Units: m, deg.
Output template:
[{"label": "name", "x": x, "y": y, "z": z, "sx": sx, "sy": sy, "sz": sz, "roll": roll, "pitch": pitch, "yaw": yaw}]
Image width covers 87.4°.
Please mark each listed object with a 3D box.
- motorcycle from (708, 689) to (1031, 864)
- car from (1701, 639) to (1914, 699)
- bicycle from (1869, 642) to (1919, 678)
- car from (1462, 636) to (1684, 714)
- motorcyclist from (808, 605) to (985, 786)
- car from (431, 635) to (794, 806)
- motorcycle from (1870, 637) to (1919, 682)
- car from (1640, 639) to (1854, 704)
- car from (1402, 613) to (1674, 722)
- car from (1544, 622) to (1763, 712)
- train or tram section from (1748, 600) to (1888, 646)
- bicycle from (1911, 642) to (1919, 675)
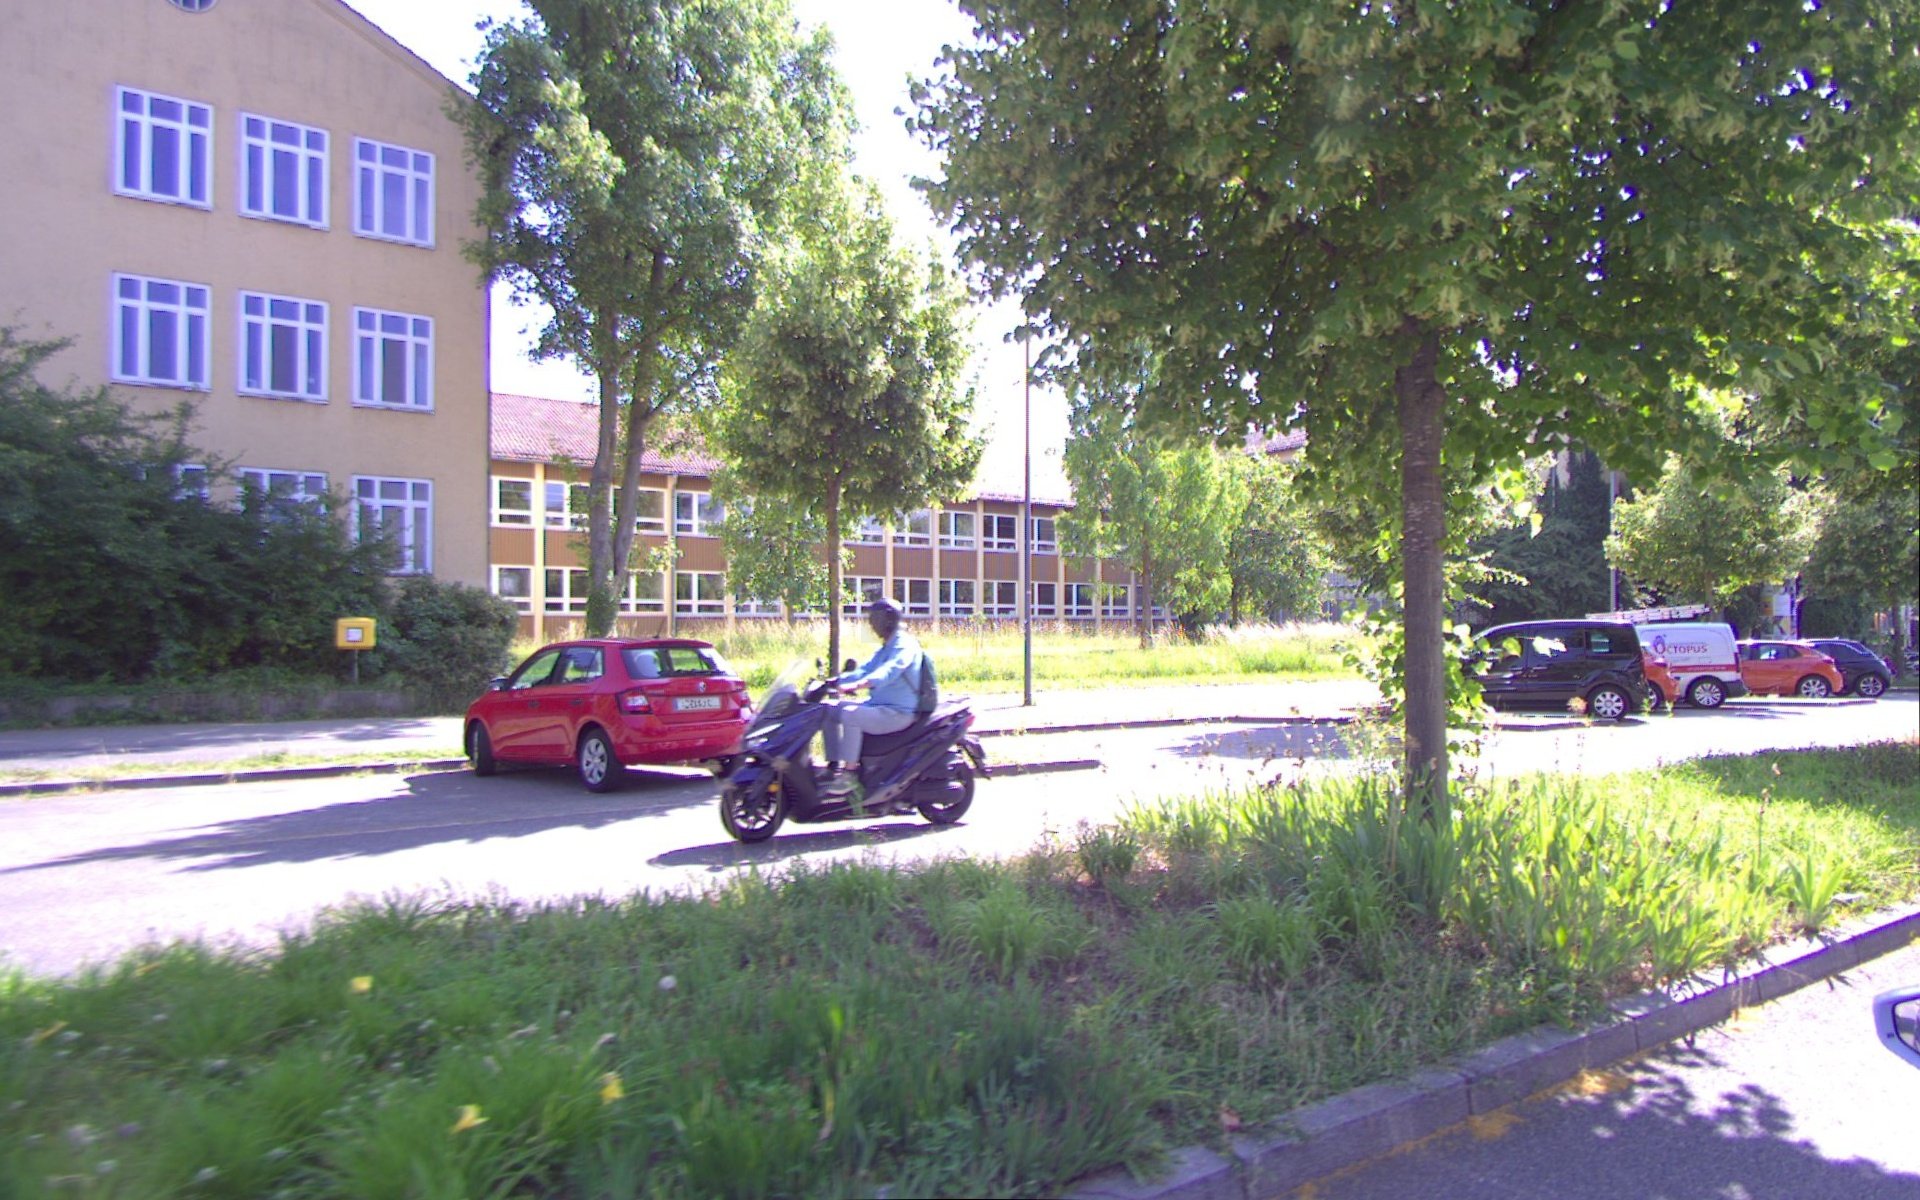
[{"label": "motorcycle", "x": -0.646, "y": 1.222, "z": 7.417, "sx": 2.208, "sy": 1.006, "sz": 0.919, "roll": 1, "pitch": -2, "yaw": -30}, {"label": "car", "x": 21.630, "y": 1.763, "z": 25.825, "sx": 3.700, "sy": 1.442, "sz": 1.856, "roll": -2, "pitch": -3, "yaw": 20}, {"label": "bicycle", "x": 30.459, "y": 1.914, "z": 32.180, "sx": 0.684, "sy": 1.106, "sz": 1.838, "roll": 1, "pitch": -2, "yaw": -28}, {"label": "car", "x": 12.427, "y": 1.494, "z": 20.619, "sx": 3.707, "sy": 1.446, "sz": 1.853, "roll": -2, "pitch": -2, "yaw": 29}, {"label": "motorcyclist", "x": -0.487, "y": 0.669, "z": 7.522, "sx": 1.049, "sy": 1.237, "sz": 0.897, "roll": 1, "pitch": -2, "yaw": -29}, {"label": "car", "x": -3.877, "y": 1.184, "z": 10.931, "sx": 3.940, "sy": 1.485, "sz": 1.991, "roll": -3, "pitch": -3, "yaw": 40}, {"label": "motorcycle", "x": 28.387, "y": 1.758, "z": 29.879, "sx": 0.686, "sy": 1.301, "sz": 1.832, "roll": 1, "pitch": -2, "yaw": -36}, {"label": "car", "x": 18.995, "y": 1.695, "z": 24.465, "sx": 3.770, "sy": 1.442, "sz": 1.714, "roll": -1, "pitch": -2, "yaw": 25}, {"label": "car", "x": 10.496, "y": 1.217, "z": 18.654, "sx": 4.108, "sy": 1.840, "sz": 2.003, "roll": -2, "pitch": -2, "yaw": 23}, {"label": "car", "x": 14.816, "y": 1.388, "z": 21.733, "sx": 3.706, "sy": 1.795, "sz": 1.816, "roll": -1, "pitch": -2, "yaw": 29}, {"label": "train or tram section", "x": 65.289, "y": 1.798, "z": 76.646, "sx": 3.084, "sy": 3.376, "sz": 7.518, "roll": 1, "pitch": -2, "yaw": -31}, {"label": "bicycle", "x": 33.516, "y": 2.002, "z": 33.980, "sx": 0.684, "sy": 1.121, "sz": 1.838, "roll": 1, "pitch": -2, "yaw": -28}]
